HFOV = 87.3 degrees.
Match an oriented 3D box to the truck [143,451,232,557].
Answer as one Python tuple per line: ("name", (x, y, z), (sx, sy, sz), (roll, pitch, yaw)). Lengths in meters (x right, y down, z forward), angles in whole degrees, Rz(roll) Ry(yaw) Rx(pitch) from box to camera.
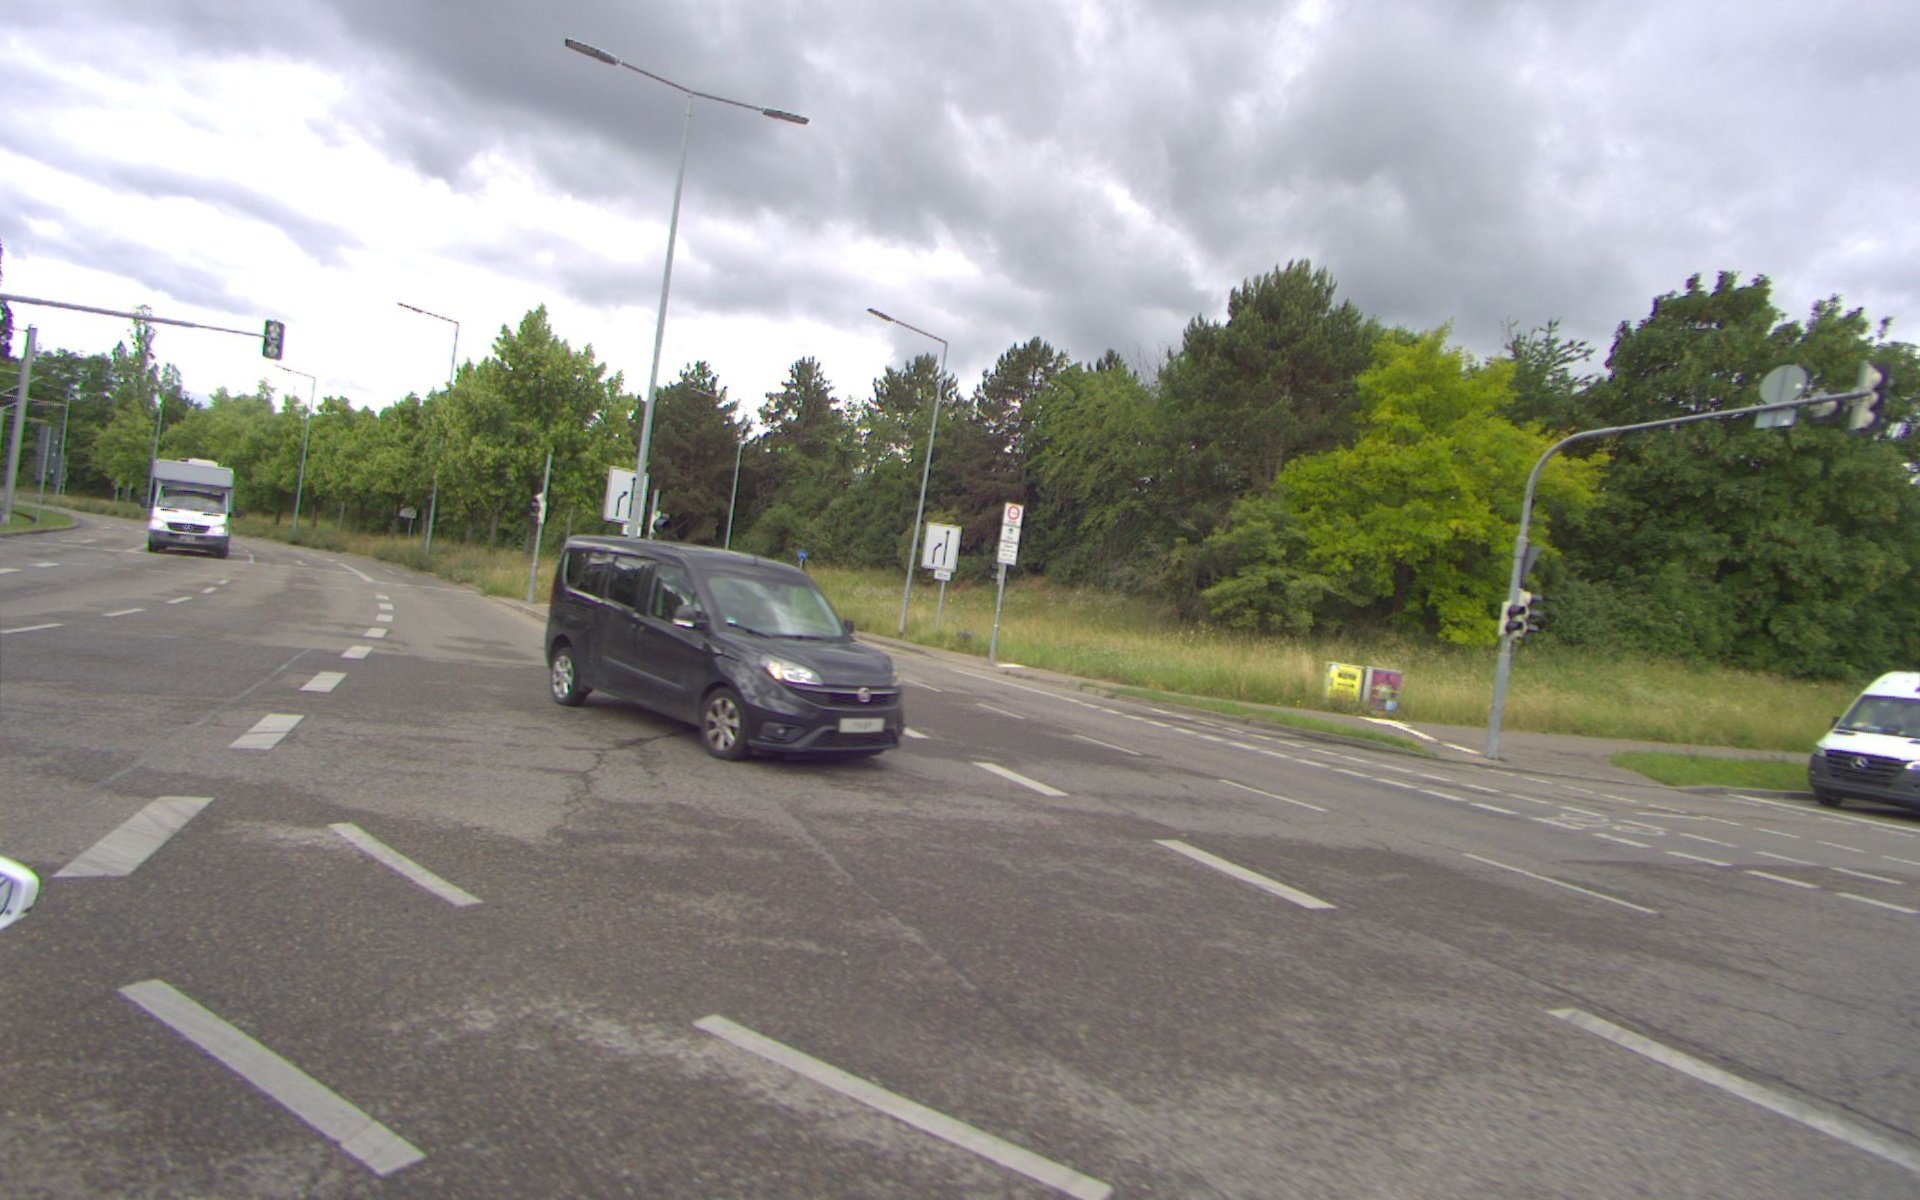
("truck", (-25.504, -3.109, 33.341), (2.091, 3.051, 6.210), (2, 2, -37))

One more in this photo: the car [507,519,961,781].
("car", (-2.496, 0.340, 10.140), (4.826, 1.900, 1.989), (7, 0, 44))

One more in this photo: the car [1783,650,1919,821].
("car", (18.289, 2.621, 18.569), (5.883, 2.691, 2.216), (7, -1, -24))
